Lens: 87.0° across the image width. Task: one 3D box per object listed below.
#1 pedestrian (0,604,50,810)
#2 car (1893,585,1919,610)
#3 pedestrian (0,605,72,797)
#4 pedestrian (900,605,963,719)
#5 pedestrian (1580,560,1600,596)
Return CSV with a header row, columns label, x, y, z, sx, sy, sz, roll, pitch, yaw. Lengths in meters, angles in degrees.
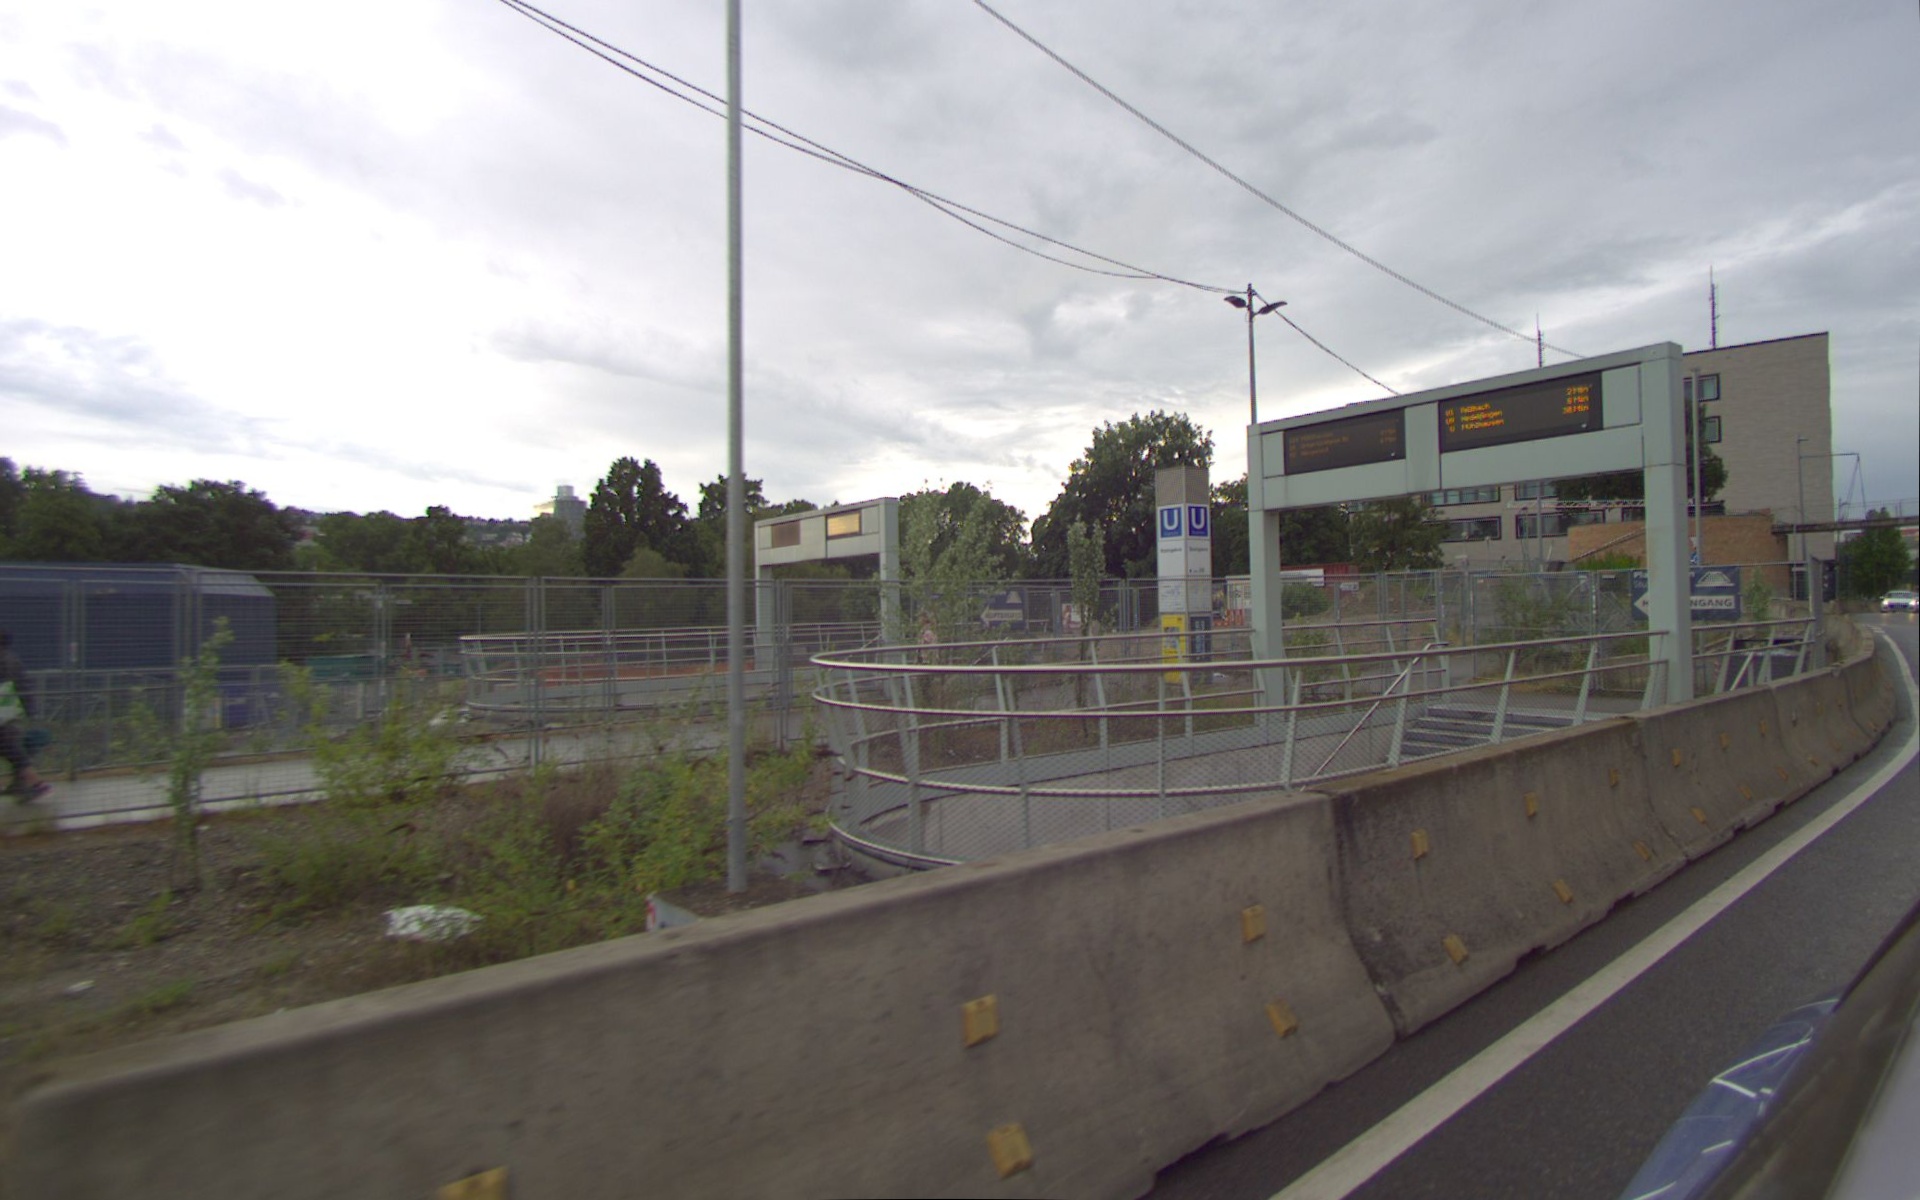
label,x,y,z,sx,sy,sz,roll,pitch,yaw
pedestrian,-8.827,0.954,9.007,0.689,1.800,1.007,-1,0,43
car,62.273,-0.203,66.056,4.580,1.553,1.768,-1,-1,-45
pedestrian,-9.351,0.965,9.850,1.006,1.800,0.726,-2,0,-44
pedestrian,-0.472,1.004,16.742,0.798,1.800,0.693,-1,0,-24
pedestrian,32.291,-1.138,51.891,0.683,1.800,0.810,-1,0,21
